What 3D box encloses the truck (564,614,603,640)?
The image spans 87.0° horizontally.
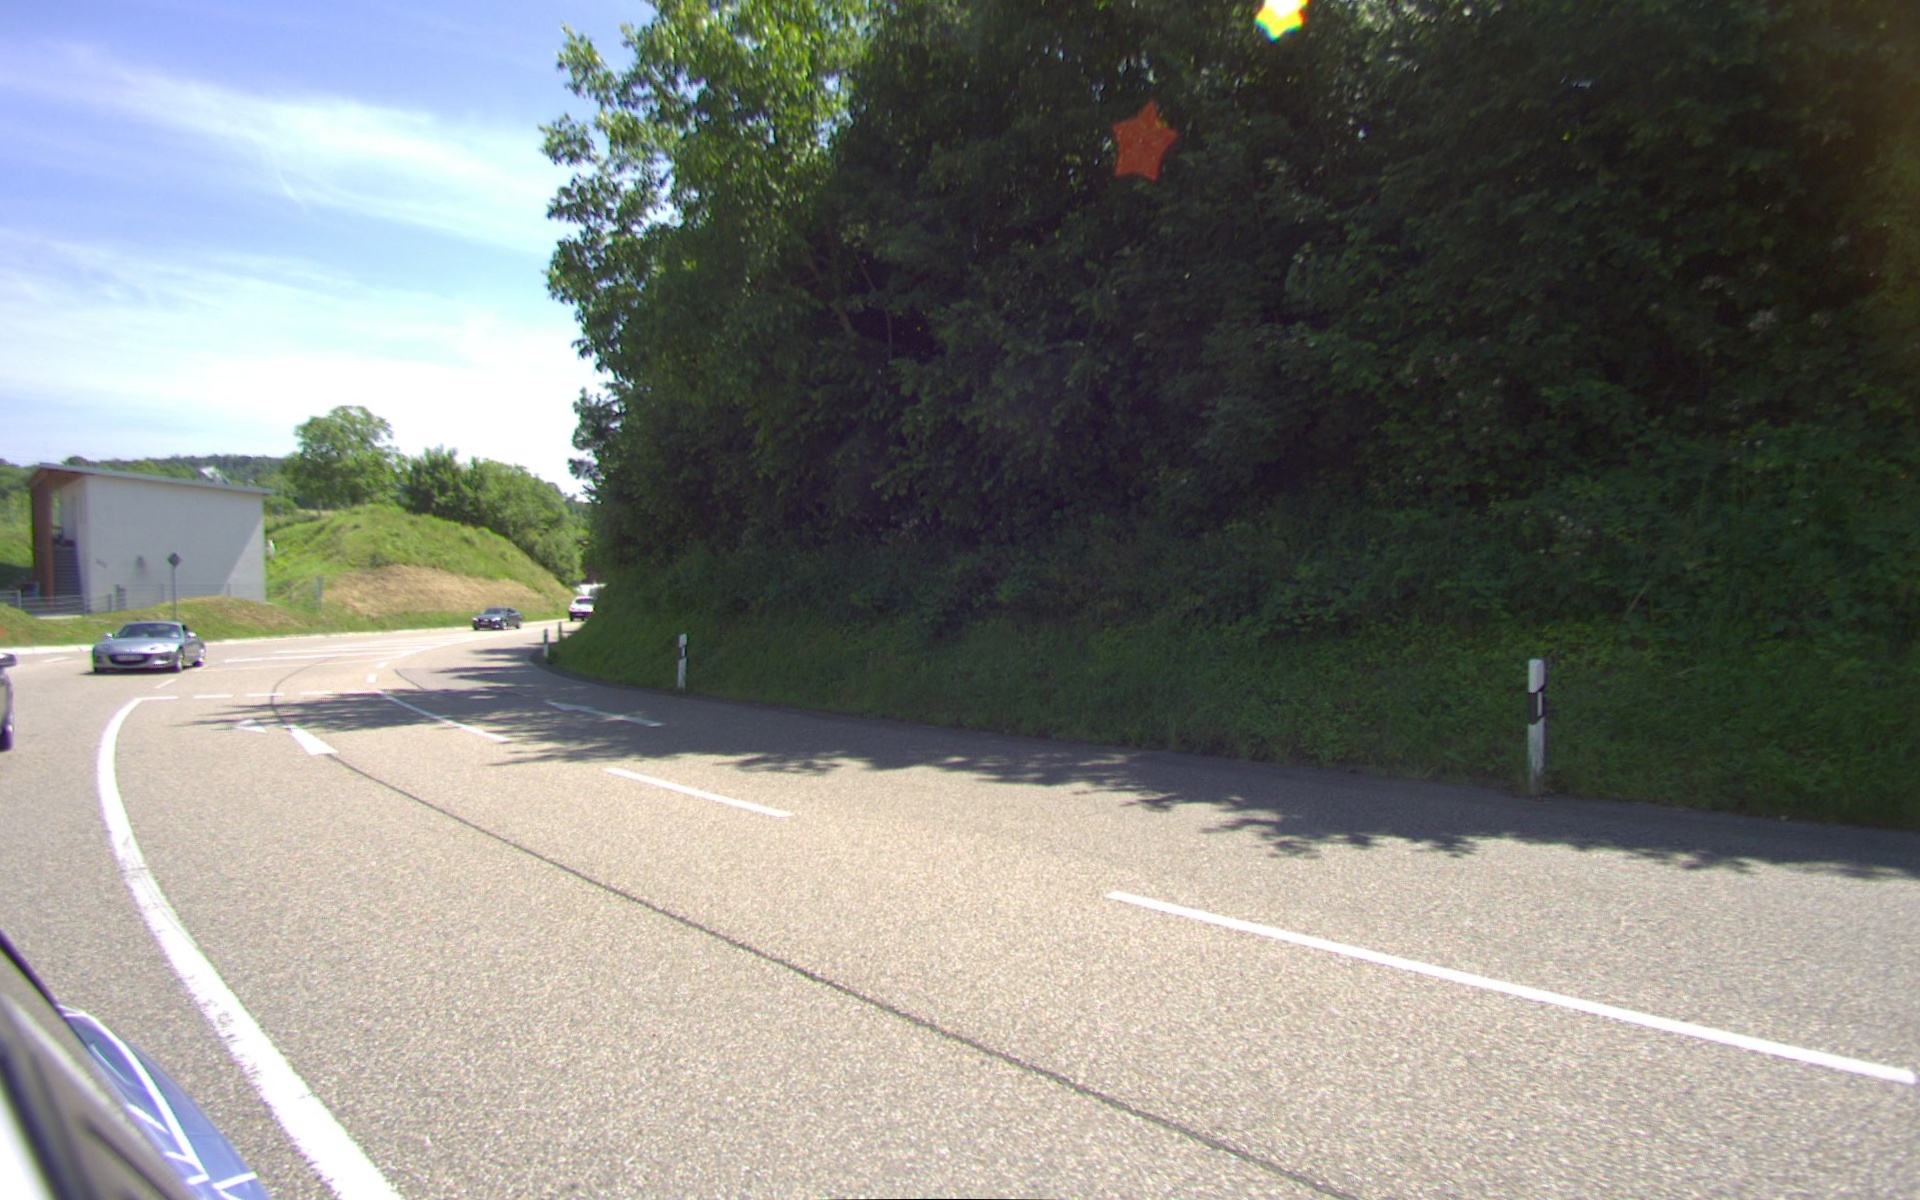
[{"bbox_3d":[-30.093,2.156,81.042,2.039,2.028,5.255,0,-1,-10],"label":"truck"}]

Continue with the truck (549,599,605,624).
[{"bbox_3d":[-50.089,1.466,132.439,7.020,3.194,2.615,0,-1,22],"label":"truck"}]

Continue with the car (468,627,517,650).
[{"bbox_3d":[-28.413,2.336,61.623,1.728,1.298,4.155,2,-2,-11],"label":"car"}]

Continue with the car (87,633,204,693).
[{"bbox_3d":[-20.409,1.545,25.499,1.620,1.332,3.449,2,-2,-28],"label":"car"}]

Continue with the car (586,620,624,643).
[{"bbox_3d":[-25.066,2.206,71.548,1.768,1.617,4.188,1,-1,-9],"label":"car"}]

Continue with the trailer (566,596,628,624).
[{"bbox_3d":[-46.245,1.289,128.644,11.144,3.398,2.604,-1,-1,44],"label":"trailer"}]
